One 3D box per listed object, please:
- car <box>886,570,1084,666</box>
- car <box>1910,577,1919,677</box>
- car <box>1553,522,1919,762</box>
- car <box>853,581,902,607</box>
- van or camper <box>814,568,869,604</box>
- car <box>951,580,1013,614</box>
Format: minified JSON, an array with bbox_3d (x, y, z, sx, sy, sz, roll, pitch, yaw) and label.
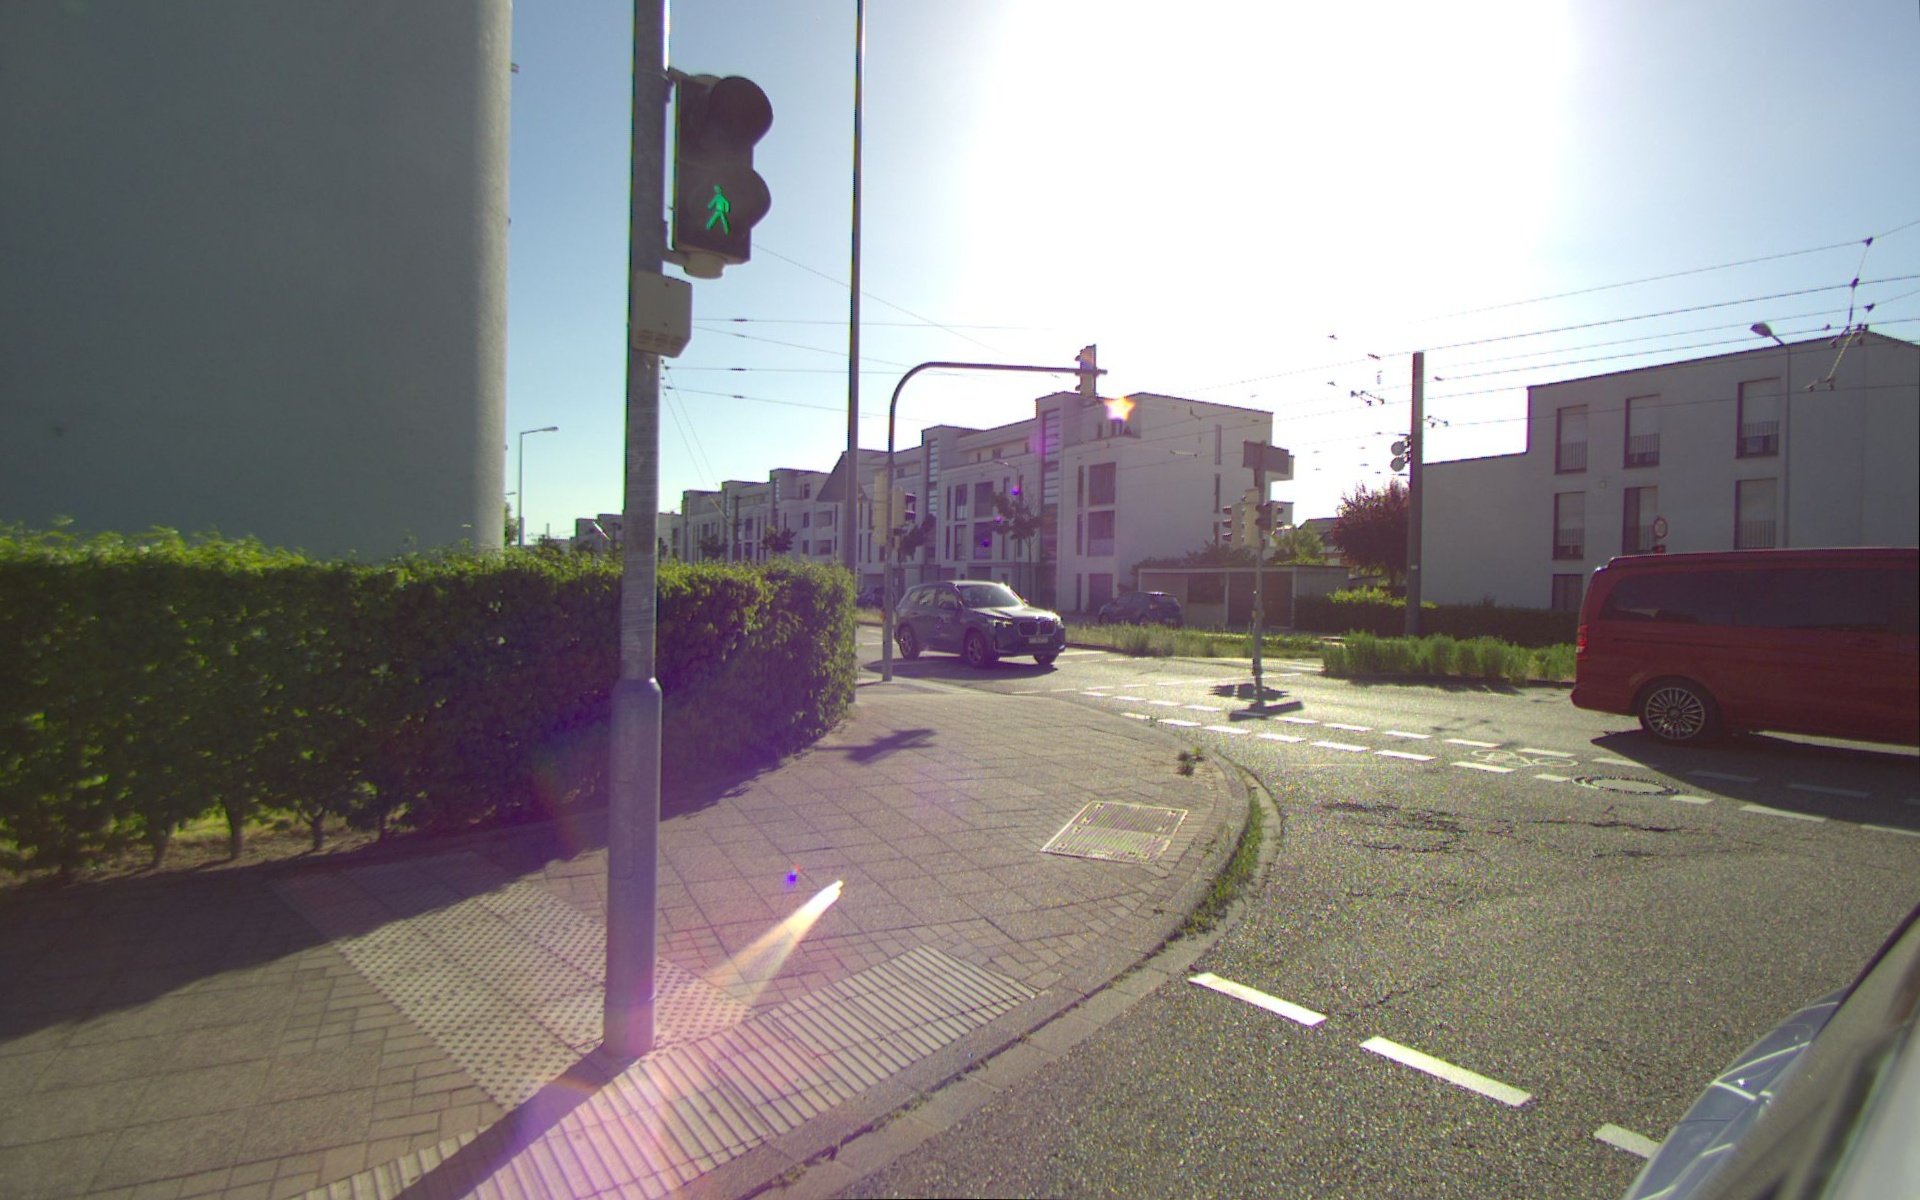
[{"bbox_3d":[0.379,0.254,20.604,1.961,1.693,4.412,-1,2,-32],"label":"car"},{"bbox_3d":[18.824,0.525,16.549,1.959,1.777,4.369,1,1,-27],"label":"car"},{"bbox_3d":[8.628,0.321,9.309,2.089,1.994,5.083,-2,2,-35],"label":"car"},{"bbox_3d":[-5.619,-0.432,68.369,1.896,1.633,3.841,1,0,-28],"label":"car"},{"bbox_3d":[-8.767,-1.040,74.375,2.154,2.496,5.267,1,0,-29],"label":"van or camper"},{"bbox_3d":[1.166,-0.174,56.421,1.758,1.744,3.914,2,0,-27],"label":"car"}]
